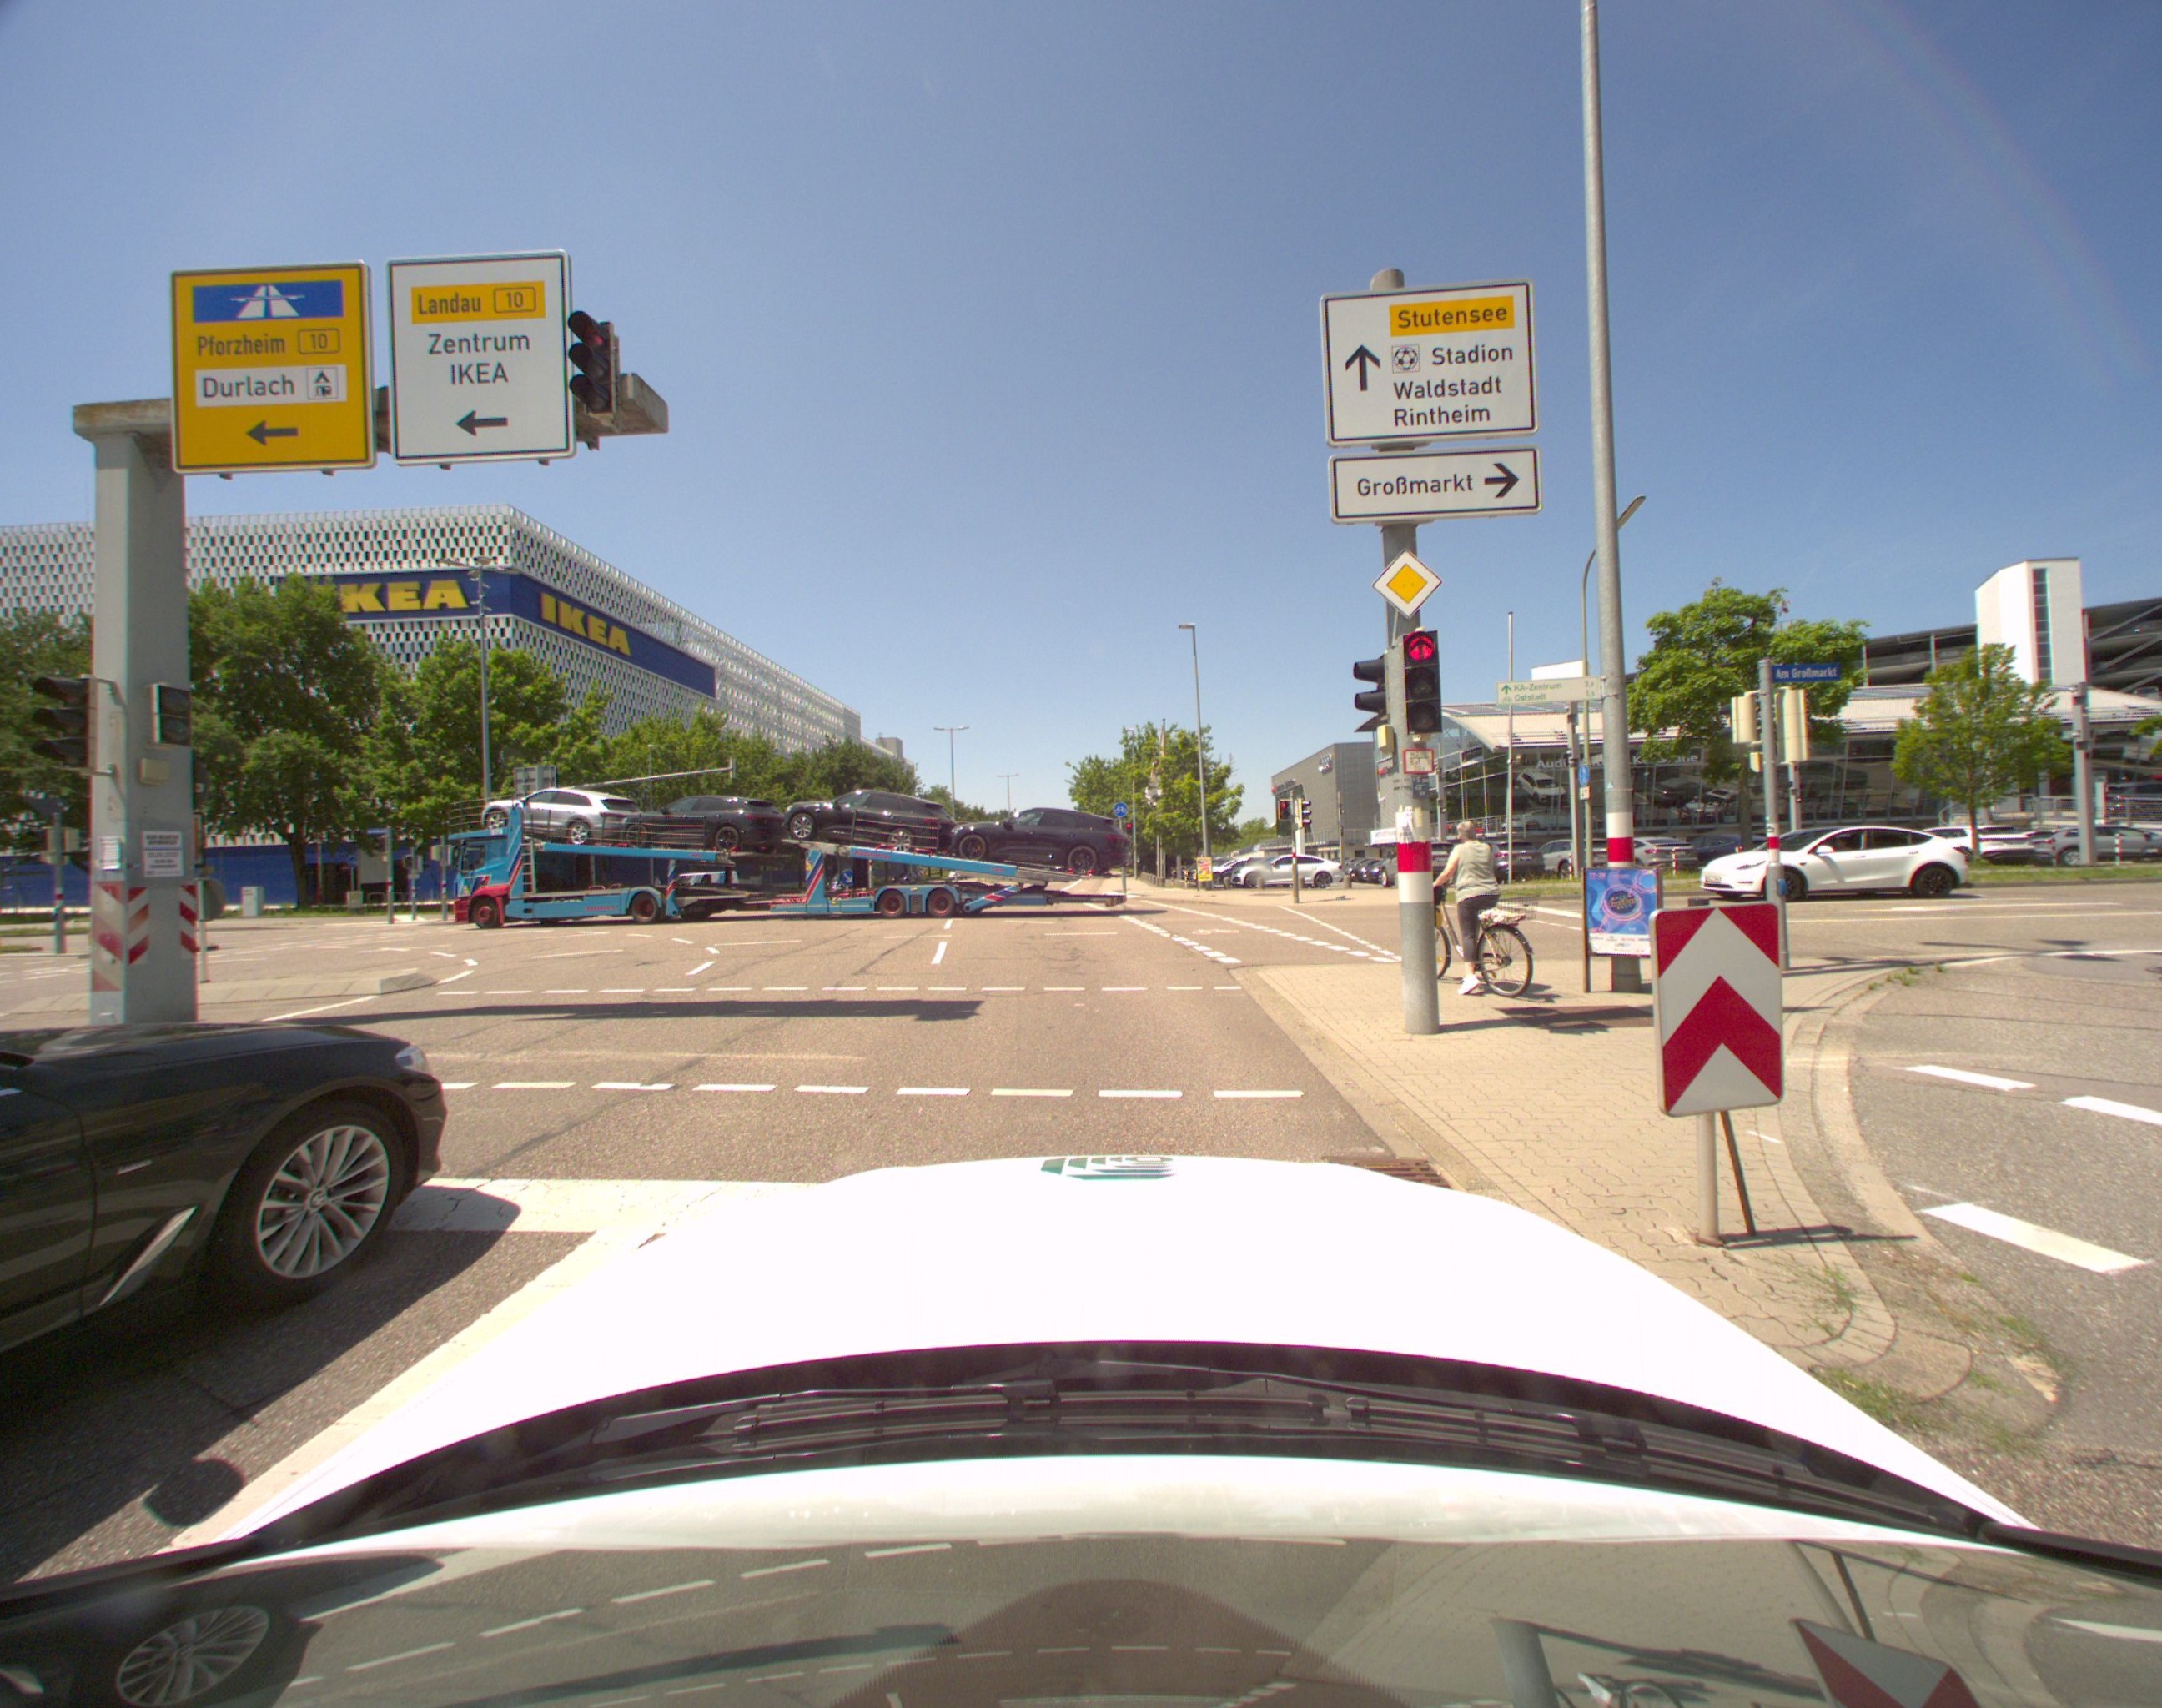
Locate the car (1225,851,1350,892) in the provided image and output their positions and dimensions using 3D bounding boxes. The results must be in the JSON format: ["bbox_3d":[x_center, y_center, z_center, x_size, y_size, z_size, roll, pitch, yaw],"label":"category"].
[{"bbox_3d":[8.507,0.702,33.855,4.721,1.457,2.002,-2,0,3],"label":"car"}]

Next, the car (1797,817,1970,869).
[{"bbox_3d":[28.527,-0.367,29.198,1.821,1.639,4.476,-3,0,2],"label":"car"}]

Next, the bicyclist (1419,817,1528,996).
[{"bbox_3d":[4.034,0.515,8.422,0.732,1.749,0.753,-1,0,-3],"label":"bicyclist"}]

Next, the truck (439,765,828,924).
[{"bbox_3d":[-13.182,-0.150,24.166,10.547,4.083,3.110,-2,-1,12],"label":"truck"}]

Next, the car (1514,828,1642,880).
[{"bbox_3d":[17.811,-0.009,29.465,1.986,1.639,4.443,-3,0,2],"label":"car"}]

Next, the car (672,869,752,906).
[{"bbox_3d":[-22.596,2.008,50.095,1.980,2.008,4.780,-3,-1,12],"label":"car"}]

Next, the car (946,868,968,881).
[{"bbox_3d":[-16.875,2.802,111.013,1.918,1.665,4.093,-3,-1,4],"label":"car"}]

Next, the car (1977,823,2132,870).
[{"bbox_3d":[40.275,-0.294,33.829,3.720,1.772,1.781,-3,-1,32],"label":"car"}]

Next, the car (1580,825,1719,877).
[{"bbox_3d":[20.314,-0.099,29.375,1.878,1.639,4.526,-3,0,2],"label":"car"}]

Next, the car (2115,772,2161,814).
[{"bbox_3d":[54.885,-3.118,40.404,1.989,2.013,3.995,-2,0,-4],"label":"car"}]

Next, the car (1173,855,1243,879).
[{"bbox_3d":[9.219,0.962,59.288,4.726,1.457,2.000,-3,0,0],"label":"car"}]

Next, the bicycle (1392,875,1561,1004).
[{"bbox_3d":[4.063,0.822,8.572,0.784,1.127,1.919,-1,0,-2],"label":"bicycle"}]

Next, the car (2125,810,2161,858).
[{"bbox_3d":[39.509,-0.793,27.612,4.705,1.639,1.844,-3,0,24],"label":"car"}]

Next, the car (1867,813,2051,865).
[{"bbox_3d":[31.189,-0.495,29.164,1.821,1.639,4.476,-3,0,2],"label":"car"}]

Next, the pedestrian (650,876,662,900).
[{"bbox_3d":[-26.472,2.129,50.711,0.460,1.482,0.484,-3,-1,5],"label":"pedestrian"}]

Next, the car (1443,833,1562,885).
[{"bbox_3d":[15.067,0.152,29.406,1.986,1.639,4.559,-2,0,2],"label":"car"}]

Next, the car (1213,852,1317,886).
[{"bbox_3d":[9.042,0.730,40.295,4.721,1.457,2.002,-2,0,3],"label":"car"}]

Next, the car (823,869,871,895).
[{"bbox_3d":[-16.292,1.929,56.840,1.868,1.598,4.497,-3,-1,2],"label":"car"}]

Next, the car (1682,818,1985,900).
[{"bbox_3d":[16.582,0.119,18.201,4.654,1.588,2.004,-2,0,7],"label":"car"}]

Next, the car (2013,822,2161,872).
[{"bbox_3d":[39.208,-0.262,31.523,3.665,1.777,1.759,-3,-1,28],"label":"car"}]

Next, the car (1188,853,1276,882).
[{"bbox_3d":[8.698,0.772,47.191,4.726,1.457,2.000,-2,0,0],"label":"car"}]

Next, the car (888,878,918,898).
[{"bbox_3d":[-19.318,3.662,88.527,1.984,2.014,4.005,-2,-2,5],"label":"car"}]

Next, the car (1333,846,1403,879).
[{"bbox_3d":[19.270,0.563,54.784,3.971,2.014,2.001,-2,-1,2],"label":"car"}]

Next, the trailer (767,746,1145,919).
[{"bbox_3d":[-3.268,-0.437,22.150,9.548,4.081,3.105,-2,-1,12],"label":"trailer"}]

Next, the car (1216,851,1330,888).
[{"bbox_3d":[8.552,0.716,36.608,4.721,1.457,2.002,-2,-2,3],"label":"car"}]

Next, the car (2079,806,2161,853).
[{"bbox_3d":[47.886,-1.126,36.426,3.728,2.014,1.866,-2,-1,11],"label":"car"}]

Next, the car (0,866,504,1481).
[{"bbox_3d":[-3.534,0.799,1.342,1.794,1.466,4.623,-1,0,1],"label":"car"}]

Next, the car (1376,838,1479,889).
[{"bbox_3d":[12.410,0.319,29.511,1.986,1.639,4.270,-2,0,2],"label":"car"}]

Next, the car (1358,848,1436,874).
[{"bbox_3d":[19.228,0.415,49.624,4.076,1.460,1.720,-2,0,2],"label":"car"}]

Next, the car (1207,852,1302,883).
[{"bbox_3d":[9.426,0.702,44.453,4.726,1.457,2.000,-2,0,0],"label":"car"}]

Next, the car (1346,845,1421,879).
[{"bbox_3d":[19.252,0.509,51.967,3.971,2.014,2.001,-2,-1,2],"label":"car"}]

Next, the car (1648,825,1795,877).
[{"bbox_3d":[22.904,-0.106,29.374,1.821,1.639,4.476,-3,0,2],"label":"car"}]
